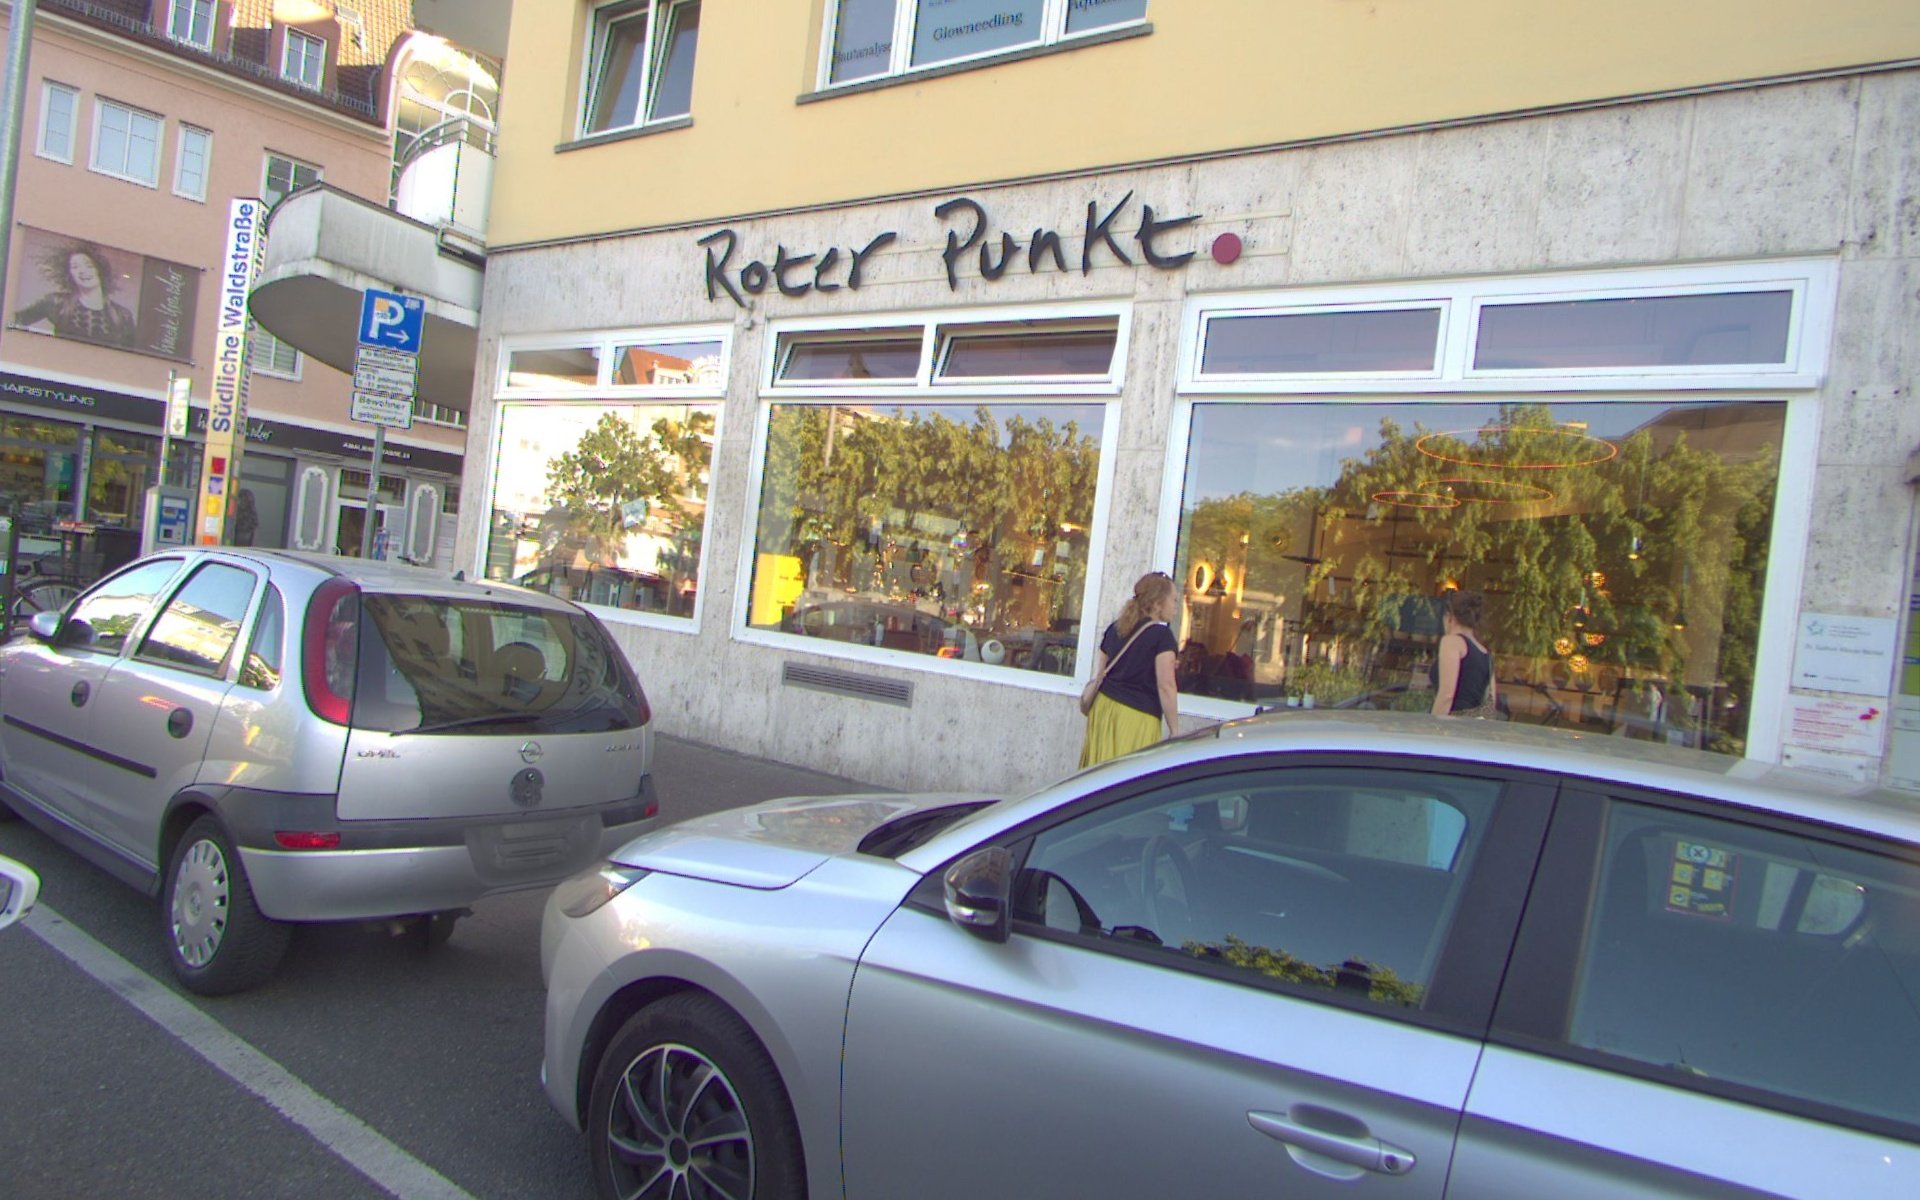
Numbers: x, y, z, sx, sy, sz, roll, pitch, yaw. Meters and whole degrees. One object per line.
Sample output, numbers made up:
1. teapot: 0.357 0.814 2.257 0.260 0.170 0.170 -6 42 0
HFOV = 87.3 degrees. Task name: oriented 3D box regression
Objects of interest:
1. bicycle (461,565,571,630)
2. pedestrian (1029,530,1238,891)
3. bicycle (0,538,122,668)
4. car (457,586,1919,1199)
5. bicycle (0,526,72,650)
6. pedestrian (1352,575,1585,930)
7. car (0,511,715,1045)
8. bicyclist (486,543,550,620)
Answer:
1. bicycle: -9.411 -0.042 21.376 0.700 1.131 1.930 6 -1 44
2. pedestrian: 0.938 0.563 5.481 0.564 1.805 0.734 7 0 -42
3. bicycle: -8.109 0.000 8.209 0.348 1.051 1.871 6 1 38
4. car: 0.754 0.921 2.268 3.598 1.444 1.550 6 -1 30
5. bicycle: -9.080 -0.147 8.800 0.408 1.101 1.872 6 1 35
6. pedestrian: 2.613 0.758 5.202 0.651 1.685 0.643 7 0 -26
7. car: -2.933 0.482 4.441 3.420 1.407 1.548 6 -1 33
8. bicyclist: -9.385 -0.399 21.362 0.692 1.500 0.889 6 -1 44
